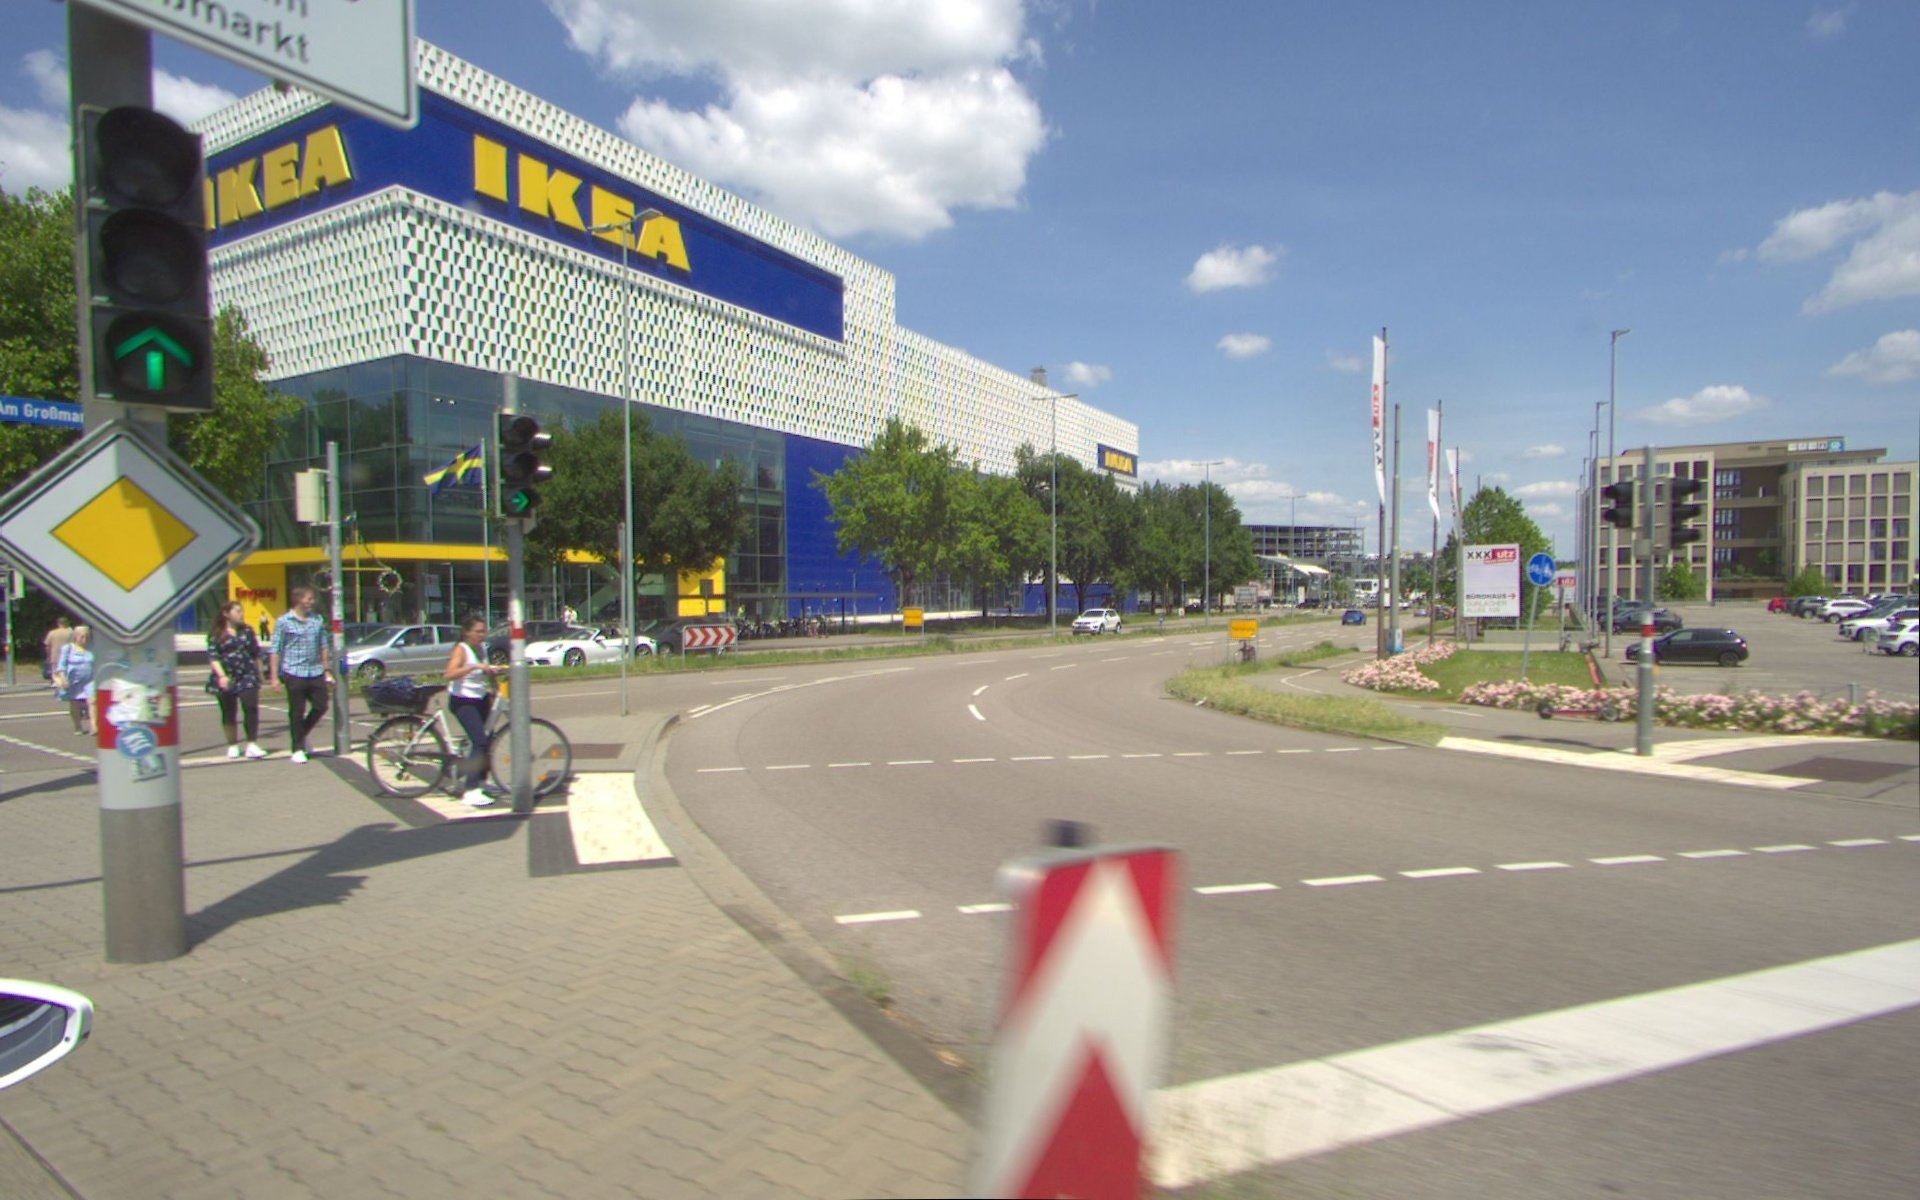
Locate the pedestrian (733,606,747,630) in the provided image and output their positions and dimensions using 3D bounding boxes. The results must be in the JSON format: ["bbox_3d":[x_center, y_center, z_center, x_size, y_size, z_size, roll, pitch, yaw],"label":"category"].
[{"bbox_3d":[-14.988,1.234,68.264,0.570,1.607,0.766,0,1,25],"label":"pedestrian"}]

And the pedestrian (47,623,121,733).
[{"bbox_3d":[-12.299,1.078,14.061,0.795,1.495,0.588,-1,-1,34],"label":"pedestrian"}]

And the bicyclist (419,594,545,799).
[{"bbox_3d":[-4.202,0.816,8.858,0.784,1.723,0.816,0,0,-8],"label":"bicyclist"}]

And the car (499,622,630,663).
[{"bbox_3d":[-14.828,1.565,37.808,1.836,1.416,4.392,-1,-1,32],"label":"car"}]

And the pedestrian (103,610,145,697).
[{"bbox_3d":[-16.376,1.032,19.634,0.601,1.658,0.857,0,-1,-39],"label":"pedestrian"}]

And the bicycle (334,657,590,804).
[{"bbox_3d":[-4.330,1.112,8.845,1.843,1.177,0.831,0,0,-7],"label":"bicycle"}]

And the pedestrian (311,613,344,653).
[{"bbox_3d":[-25.985,1.346,41.138,0.623,1.607,0.918,0,0,24],"label":"pedestrian"}]

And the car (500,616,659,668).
[{"bbox_3d":[-11.138,1.181,29.589,1.777,1.416,4.213,0,-1,31],"label":"car"}]

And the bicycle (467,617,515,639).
[{"bbox_3d":[-24.585,1.467,52.502,2.389,1.160,0.801,0,0,17],"label":"bicycle"}]

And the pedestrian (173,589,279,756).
[{"bbox_3d":[-8.243,0.785,11.247,0.788,1.782,0.800,0,0,39],"label":"pedestrian"}]

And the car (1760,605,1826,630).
[{"bbox_3d":[68.607,1.439,82.538,3.943,2.040,1.990,-1,-1,32],"label":"car"}]

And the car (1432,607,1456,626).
[{"bbox_3d":[52.749,1.786,109.037,1.971,2.040,3.981,-1,-1,31],"label":"car"}]

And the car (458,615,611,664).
[{"bbox_3d":[-13.600,1.233,32.270,1.825,1.462,4.396,-1,-1,29],"label":"car"}]

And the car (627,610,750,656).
[{"bbox_3d":[-10.108,1.195,37.525,1.836,1.605,4.392,-1,-1,32],"label":"car"}]

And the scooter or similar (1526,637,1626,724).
[{"bbox_3d":[9.702,1.242,15.799,0.475,1.307,1.268,0,-1,-41],"label":"scooter or similar"}]

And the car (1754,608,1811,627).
[{"bbox_3d":[78.135,1.705,95.153,3.942,1.750,1.730,-1,-1,32],"label":"car"}]

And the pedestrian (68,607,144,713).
[{"bbox_3d":[-14.133,0.967,16.578,0.934,1.694,0.779,0,0,37],"label":"pedestrian"}]

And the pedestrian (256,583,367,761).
[{"bbox_3d":[-7.217,0.775,11.153,0.787,1.889,0.801,0,0,34],"label":"pedestrian"}]

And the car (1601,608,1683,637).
[{"bbox_3d":[42.458,1.396,62.437,4.061,1.706,1.992,-1,-1,29],"label":"car"}]

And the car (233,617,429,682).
[{"bbox_3d":[-16.593,1.245,26.606,1.969,1.576,3.984,-1,-1,28],"label":"car"}]

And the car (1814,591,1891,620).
[{"bbox_3d":[64.107,0.440,71.992,3.942,2.040,1.538,-1,-1,32],"label":"car"}]

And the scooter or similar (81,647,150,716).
[{"bbox_3d":[-13.673,1.307,16.219,0.852,1.044,0.687,-1,0,37],"label":"scooter or similar"}]

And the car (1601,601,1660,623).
[{"bbox_3d":[54.312,0.975,81.111,3.946,1.706,1.988,-1,-1,35],"label":"car"}]

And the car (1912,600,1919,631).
[{"bbox_3d":[56.220,0.865,55.926,4.113,1.724,1.844,0,0,34],"label":"car"}]

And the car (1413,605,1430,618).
[{"bbox_3d":[62.624,1.550,135.849,1.735,1.633,3.531,-1,-1,31],"label":"car"}]

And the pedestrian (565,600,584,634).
[{"bbox_3d":[-22.829,1.010,59.335,0.723,2.040,0.794,0,1,38],"label":"pedestrian"}]

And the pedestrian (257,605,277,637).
[{"bbox_3d":[-38.659,1.166,55.875,0.733,1.759,0.776,0,1,42],"label":"pedestrian"}]

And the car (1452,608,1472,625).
[{"bbox_3d":[63.294,2.079,126.241,1.971,2.040,3.981,-1,-1,31],"label":"car"}]

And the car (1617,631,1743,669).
[{"bbox_3d":[28.240,1.939,39.439,3.886,1.394,1.845,-1,-1,32],"label":"car"}]

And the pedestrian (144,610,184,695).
[{"bbox_3d":[-15.883,1.039,19.992,0.597,1.658,0.857,0,-1,-39],"label":"pedestrian"}]

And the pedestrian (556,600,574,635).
[{"bbox_3d":[-23.556,1.026,59.701,0.724,2.040,0.793,0,1,42],"label":"pedestrian"}]

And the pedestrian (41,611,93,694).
[{"bbox_3d":[-18.707,1.077,20.970,0.789,1.681,0.844,0,0,-43],"label":"pedestrian"}]

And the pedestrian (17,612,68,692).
[{"bbox_3d":[-19.715,1.101,21.516,0.789,1.681,0.844,0,0,-43],"label":"pedestrian"}]

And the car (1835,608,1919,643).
[{"bbox_3d":[47.611,1.290,50.685,4.804,1.724,1.843,-1,-1,35],"label":"car"}]

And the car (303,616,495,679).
[{"bbox_3d":[-13.800,1.120,24.837,1.776,1.415,3.819,0,-1,30],"label":"car"}]

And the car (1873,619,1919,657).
[{"bbox_3d":[40.434,1.545,41.135,3.936,1.566,1.848,-1,-1,27],"label":"car"}]

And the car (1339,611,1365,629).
[{"bbox_3d":[37.584,1.904,96.013,1.735,1.633,3.531,-1,-1,31],"label":"car"}]

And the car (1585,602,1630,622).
[{"bbox_3d":[68.396,1.283,105.823,3.943,2.040,1.990,-1,-1,32],"label":"car"}]

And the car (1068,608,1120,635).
[{"bbox_3d":[8.531,1.330,63.553,1.969,1.661,4.064,0,0,29],"label":"car"}]

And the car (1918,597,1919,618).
[{"bbox_3d":[84.313,0.606,85.520,3.333,1.828,1.694,-1,-1,33],"label":"car"}]
